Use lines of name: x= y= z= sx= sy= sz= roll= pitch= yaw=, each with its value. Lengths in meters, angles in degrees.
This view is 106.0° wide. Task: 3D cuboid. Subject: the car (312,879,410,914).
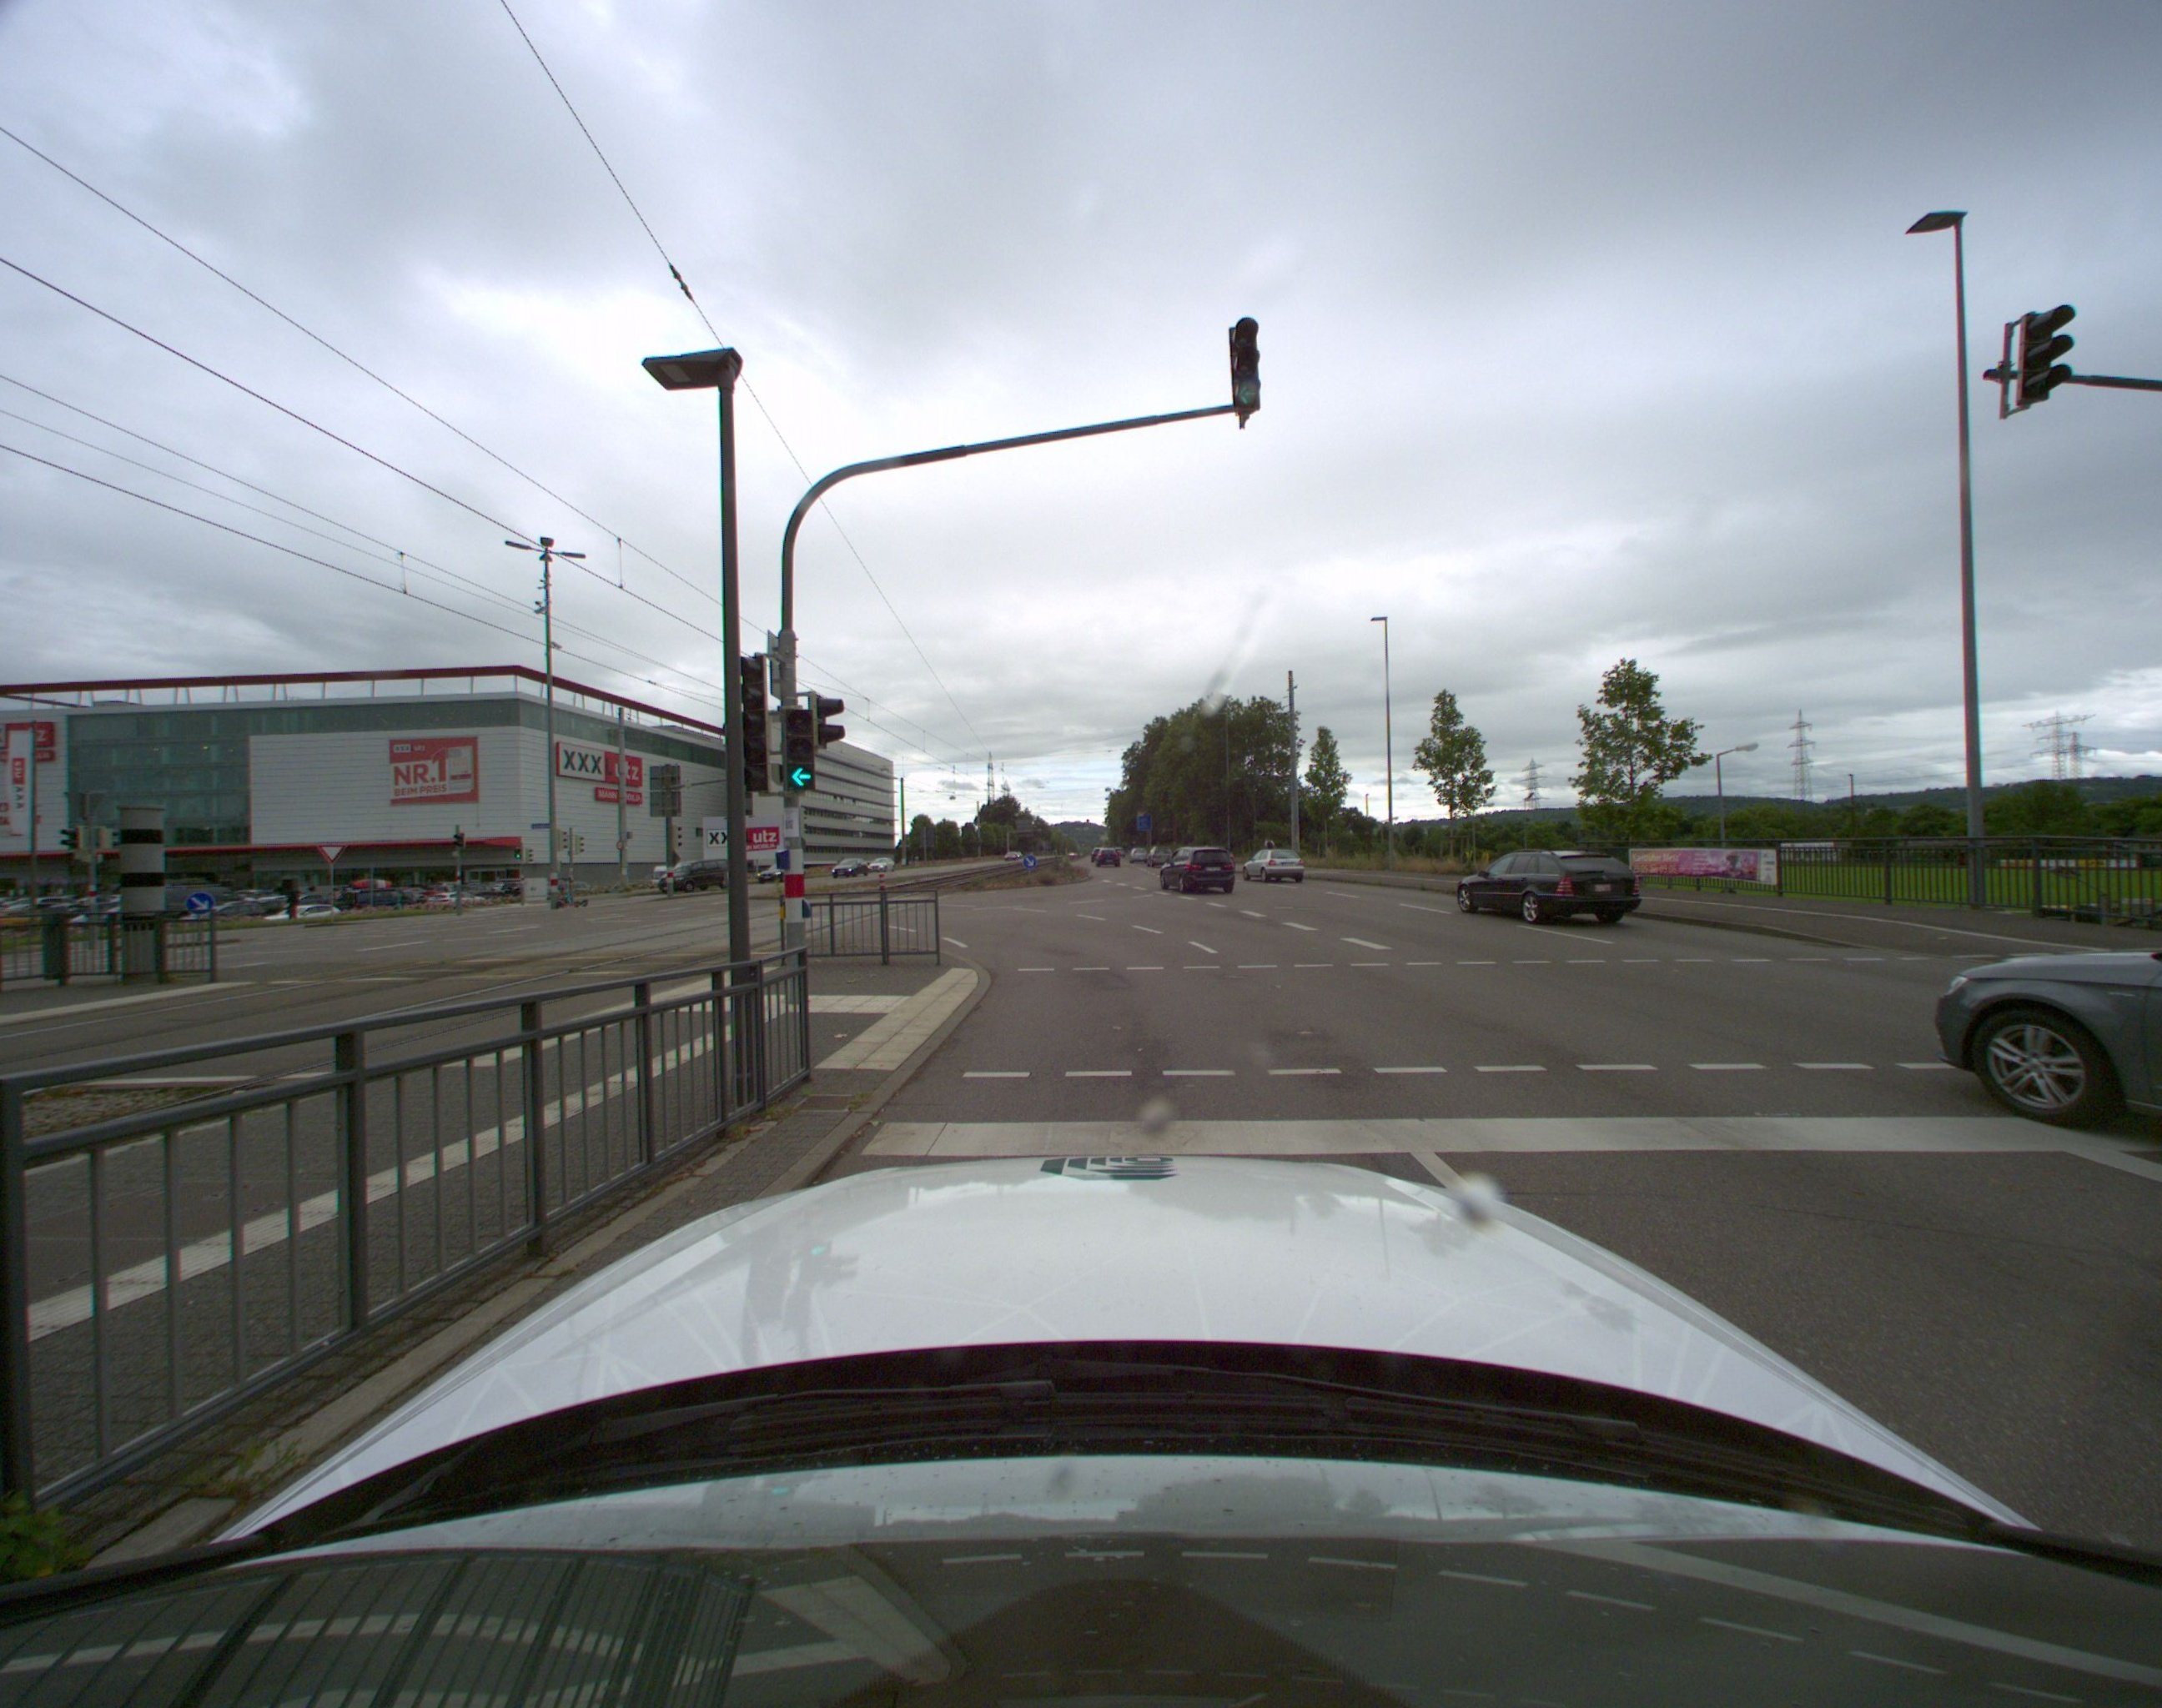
car: x=-52.106 y=3.042 z=59.082 sx=2.103 sy=2.165 sz=5.065 roll=-3 pitch=0 yaw=9

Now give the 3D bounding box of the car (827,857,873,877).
car: x=-17.978 y=1.007 z=63.620 sx=1.820 sy=1.464 sz=4.218 roll=-1 pitch=0 yaw=9

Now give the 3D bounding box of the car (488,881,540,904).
car: x=-55.583 y=3.740 z=79.934 sx=1.934 sy=1.929 sz=4.007 roll=-3 pitch=0 yaw=6

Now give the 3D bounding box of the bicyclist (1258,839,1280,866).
bicyclist: x=10.635 y=-0.114 z=46.060 sx=0.816 sy=1.478 sz=0.997 roll=-3 pitch=1 yaw=-9

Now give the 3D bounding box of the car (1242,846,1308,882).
car: x=8.483 y=0.412 z=35.924 sx=1.726 sy=1.509 sz=3.625 roll=0 pitch=1 yaw=-6

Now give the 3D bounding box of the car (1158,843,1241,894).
car: x=4.104 y=0.474 z=28.905 sx=1.831 sy=1.636 sz=4.306 roll=-1 pitch=0 yaw=-7

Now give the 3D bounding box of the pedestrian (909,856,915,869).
pedestrian: x=-21.621 y=1.126 z=104.158 sx=0.618 sy=1.654 sz=0.538 roll=0 pitch=-1 yaw=-40

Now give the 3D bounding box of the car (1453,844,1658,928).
car: x=9.553 y=0.551 z=16.858 sx=1.729 sy=1.479 sz=4.318 roll=-1 pitch=1 yaw=0

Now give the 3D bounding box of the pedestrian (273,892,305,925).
pedestrian: x=-40.360 y=2.781 z=41.499 sx=0.712 sy=1.597 sz=0.784 roll=-5 pitch=-1 yaw=2

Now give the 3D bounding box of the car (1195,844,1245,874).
car: x=7.785 y=0.284 z=46.020 sx=1.852 sy=1.561 sz=4.312 roll=1 pitch=0 yaw=-3

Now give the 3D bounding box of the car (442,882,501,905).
car: x=-55.866 y=3.613 z=74.751 sx=1.849 sy=1.780 sz=4.231 roll=-2 pitch=0 yaw=6

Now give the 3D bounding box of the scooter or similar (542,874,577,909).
scooter or similar: x=-20.437 y=1.470 z=31.950 sx=0.459 sy=1.255 sz=1.023 roll=-5 pitch=0 yaw=17

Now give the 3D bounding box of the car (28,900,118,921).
car: x=-81.020 y=4.501 z=65.526 sx=1.725 sy=1.469 sz=4.260 roll=-1 pitch=-1 yaw=6

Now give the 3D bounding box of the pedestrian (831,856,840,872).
pedestrian: x=-27.100 y=1.126 z=90.033 sx=0.635 sy=1.791 sz=0.701 roll=-1 pitch=-1 yaw=21

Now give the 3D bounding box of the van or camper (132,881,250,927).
van or camper: x=-64.355 y=3.560 z=59.028 sx=1.971 sy=2.983 sz=5.416 roll=-3 pitch=-1 yaw=12

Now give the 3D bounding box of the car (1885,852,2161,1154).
car: x=5.987 y=0.711 z=3.144 sx=1.732 sy=1.401 sz=4.076 roll=-1 pitch=0 yaw=-1

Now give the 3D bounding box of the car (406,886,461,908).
car: x=-63.426 y=4.177 z=79.826 sx=1.805 sy=1.818 sz=4.007 roll=-3 pitch=0 yaw=6

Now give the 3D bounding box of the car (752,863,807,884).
car: x=-22.170 y=1.415 z=60.044 sx=1.951 sy=1.464 sz=4.333 roll=0 pitch=0 yaw=9

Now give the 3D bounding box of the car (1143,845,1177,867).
car: x=5.965 y=0.174 z=61.956 sx=1.854 sy=1.561 sz=4.309 roll=1 pitch=0 yaw=-5

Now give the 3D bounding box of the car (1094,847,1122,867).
car: x=2.017 y=0.210 z=61.787 sx=1.743 sy=1.431 sz=3.370 roll=0 pitch=1 yaw=-4

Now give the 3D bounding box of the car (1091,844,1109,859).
car: x=1.917 y=-0.270 z=84.219 sx=1.809 sy=1.480 sz=3.671 roll=0 pitch=-1 yaw=0

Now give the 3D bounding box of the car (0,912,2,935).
car: x=-70.085 y=4.496 z=50.146 sx=1.800 sy=1.455 sz=4.006 roll=-3 pitch=-1 yaw=5

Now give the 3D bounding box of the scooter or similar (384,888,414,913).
scooter or similar: x=-36.468 y=2.490 z=43.562 sx=1.170 sy=1.233 sz=0.342 roll=-3 pitch=-2 yaw=-35

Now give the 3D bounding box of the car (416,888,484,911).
car: x=-49.345 y=3.548 z=63.817 sx=1.731 sy=1.476 sz=4.218 roll=-3 pitch=0 yaw=6

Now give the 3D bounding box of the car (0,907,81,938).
car: x=-65.071 y=4.231 z=50.150 sx=1.799 sy=1.643 sz=4.010 roll=-3 pitch=-1 yaw=9

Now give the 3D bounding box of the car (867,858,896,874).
car: x=-20.313 y=1.217 z=83.066 sx=1.720 sy=1.539 sz=4.050 roll=0 pitch=0 yaw=4

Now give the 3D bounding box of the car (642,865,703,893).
car: x=-45.138 y=2.739 z=90.227 sx=2.746 sy=2.990 sz=6.960 roll=0 pitch=-1 yaw=5

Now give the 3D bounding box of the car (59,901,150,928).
car: x=-72.014 y=4.424 z=60.143 sx=1.818 sy=1.654 sz=3.907 roll=-2 pitch=1 yaw=2

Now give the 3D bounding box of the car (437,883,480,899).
car: x=-69.266 y=4.092 z=90.672 sx=1.637 sy=1.560 sz=3.622 roll=-1 pitch=1 yaw=5

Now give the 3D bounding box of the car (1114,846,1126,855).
car: x=6.284 y=-0.543 z=130.669 sx=1.809 sy=1.480 sz=3.671 roll=0 pitch=-1 yaw=0

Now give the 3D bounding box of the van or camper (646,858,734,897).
van or camper: x=-24.146 y=1.401 z=50.565 sx=2.100 sy=2.013 sz=4.775 roll=-5 pitch=1 yaw=17

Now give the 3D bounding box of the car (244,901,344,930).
car: x=-47.292 y=3.688 z=49.082 sx=1.862 sy=1.446 sz=4.123 roll=0 pitch=-1 yaw=3

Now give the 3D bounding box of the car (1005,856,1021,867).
car: x=-10.820 y=1.261 z=130.200 sx=1.985 sy=1.728 sz=4.003 roll=0 pitch=0 yaw=3

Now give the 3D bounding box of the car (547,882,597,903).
car: x=-46.188 y=3.474 z=73.972 sx=1.873 sy=1.665 sz=4.001 roll=-2 pitch=-1 yaw=1

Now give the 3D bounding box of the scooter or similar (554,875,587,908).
scooter or similar: x=-20.810 y=1.526 z=33.204 sx=0.317 sy=1.255 sz=1.121 roll=-4 pitch=0 yaw=17

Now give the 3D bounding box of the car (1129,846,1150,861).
car: x=5.649 y=-0.039 z=79.320 sx=1.809 sy=1.480 sz=3.671 roll=0 pitch=-1 yaw=0
